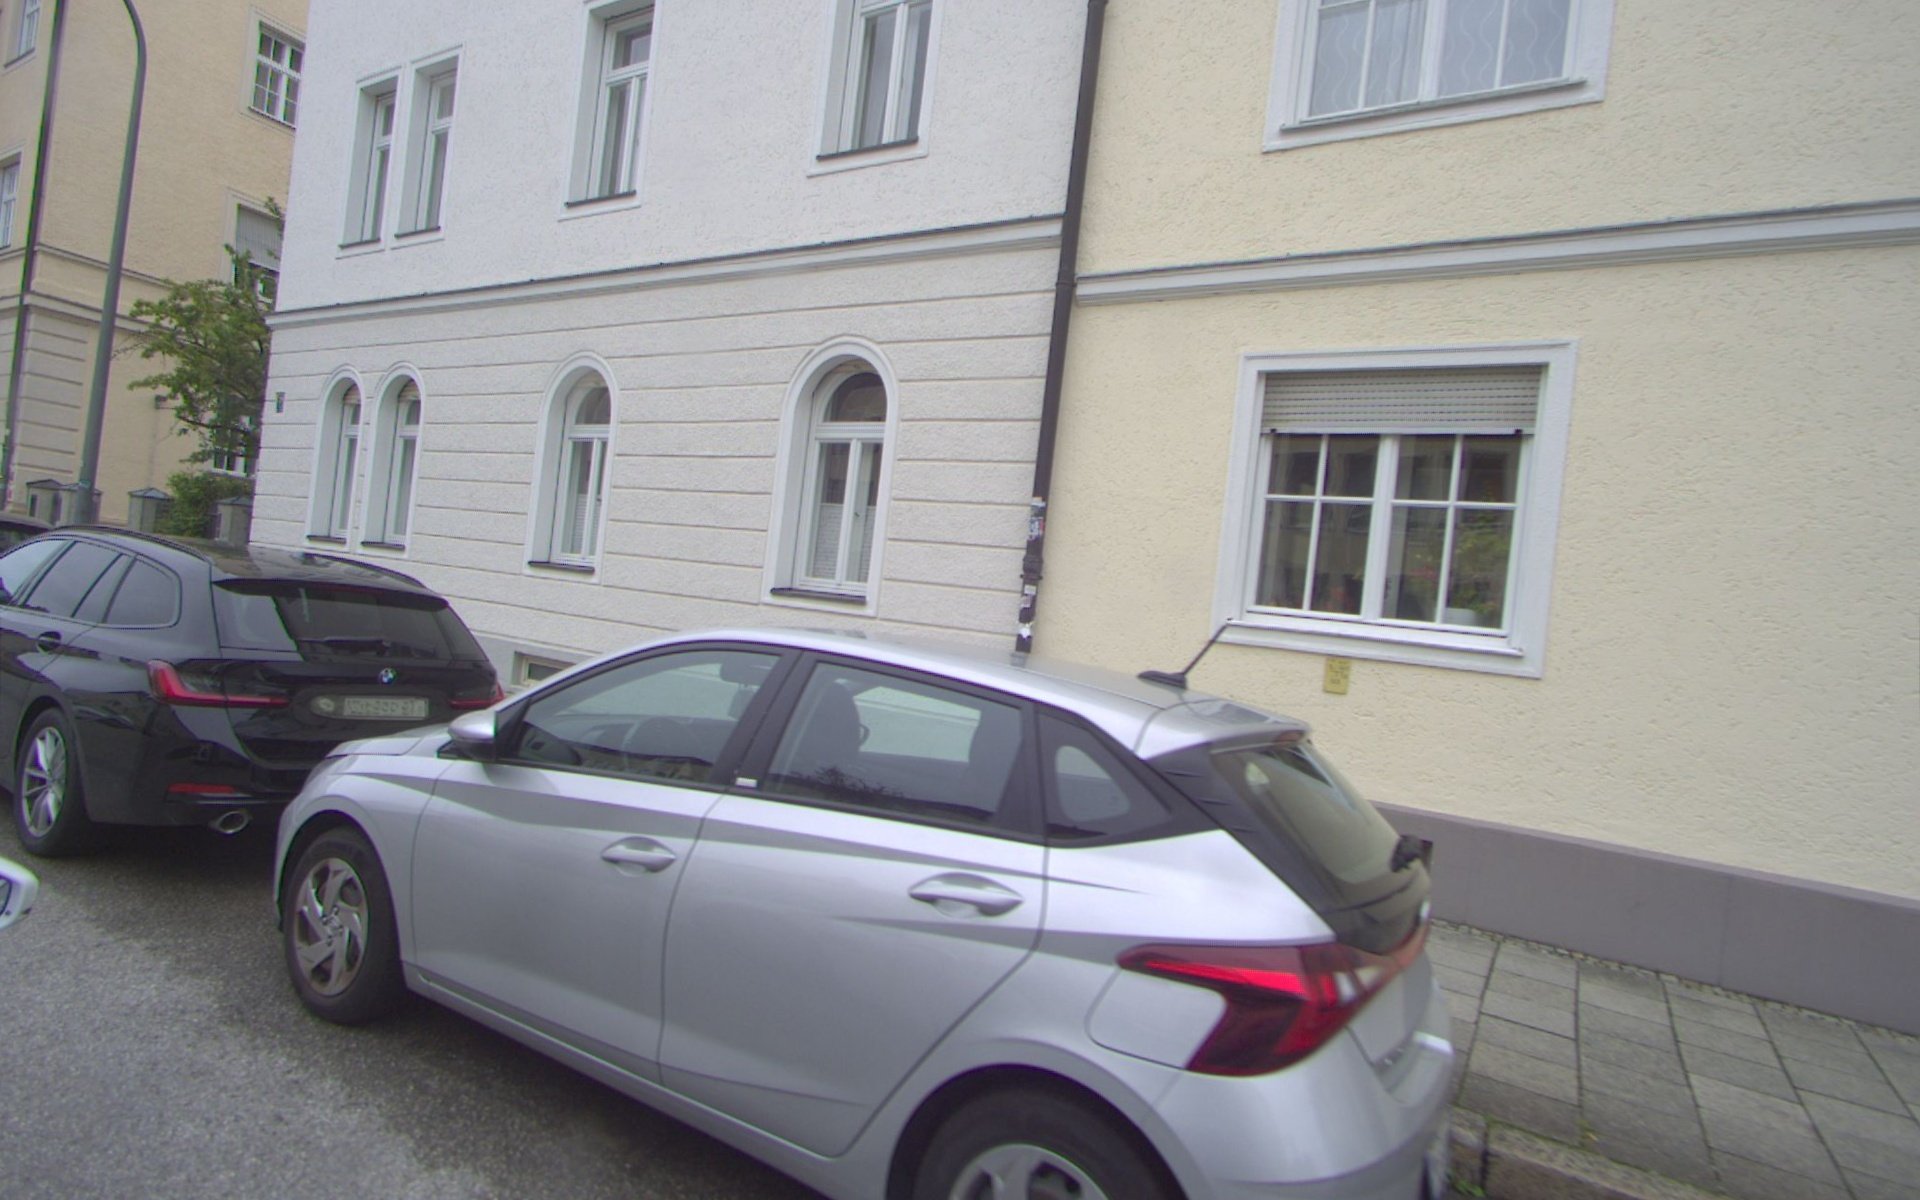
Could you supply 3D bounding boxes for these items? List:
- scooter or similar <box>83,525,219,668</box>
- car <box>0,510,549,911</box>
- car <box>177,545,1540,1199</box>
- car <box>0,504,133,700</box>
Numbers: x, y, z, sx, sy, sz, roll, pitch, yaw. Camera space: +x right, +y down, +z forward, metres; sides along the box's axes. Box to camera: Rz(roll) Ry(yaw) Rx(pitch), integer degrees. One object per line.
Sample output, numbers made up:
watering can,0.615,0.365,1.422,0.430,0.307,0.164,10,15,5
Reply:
scooter or similar,-7.475,-0.038,9.286,1.152,1.178,0.485,6,-1,29
car,-4.504,0.338,5.656,4.317,1.444,1.682,6,-1,30
car,-0.549,0.783,3.289,4.097,1.444,1.682,6,-1,30
car,-8.847,-0.171,8.394,4.019,1.444,1.682,6,-1,31
